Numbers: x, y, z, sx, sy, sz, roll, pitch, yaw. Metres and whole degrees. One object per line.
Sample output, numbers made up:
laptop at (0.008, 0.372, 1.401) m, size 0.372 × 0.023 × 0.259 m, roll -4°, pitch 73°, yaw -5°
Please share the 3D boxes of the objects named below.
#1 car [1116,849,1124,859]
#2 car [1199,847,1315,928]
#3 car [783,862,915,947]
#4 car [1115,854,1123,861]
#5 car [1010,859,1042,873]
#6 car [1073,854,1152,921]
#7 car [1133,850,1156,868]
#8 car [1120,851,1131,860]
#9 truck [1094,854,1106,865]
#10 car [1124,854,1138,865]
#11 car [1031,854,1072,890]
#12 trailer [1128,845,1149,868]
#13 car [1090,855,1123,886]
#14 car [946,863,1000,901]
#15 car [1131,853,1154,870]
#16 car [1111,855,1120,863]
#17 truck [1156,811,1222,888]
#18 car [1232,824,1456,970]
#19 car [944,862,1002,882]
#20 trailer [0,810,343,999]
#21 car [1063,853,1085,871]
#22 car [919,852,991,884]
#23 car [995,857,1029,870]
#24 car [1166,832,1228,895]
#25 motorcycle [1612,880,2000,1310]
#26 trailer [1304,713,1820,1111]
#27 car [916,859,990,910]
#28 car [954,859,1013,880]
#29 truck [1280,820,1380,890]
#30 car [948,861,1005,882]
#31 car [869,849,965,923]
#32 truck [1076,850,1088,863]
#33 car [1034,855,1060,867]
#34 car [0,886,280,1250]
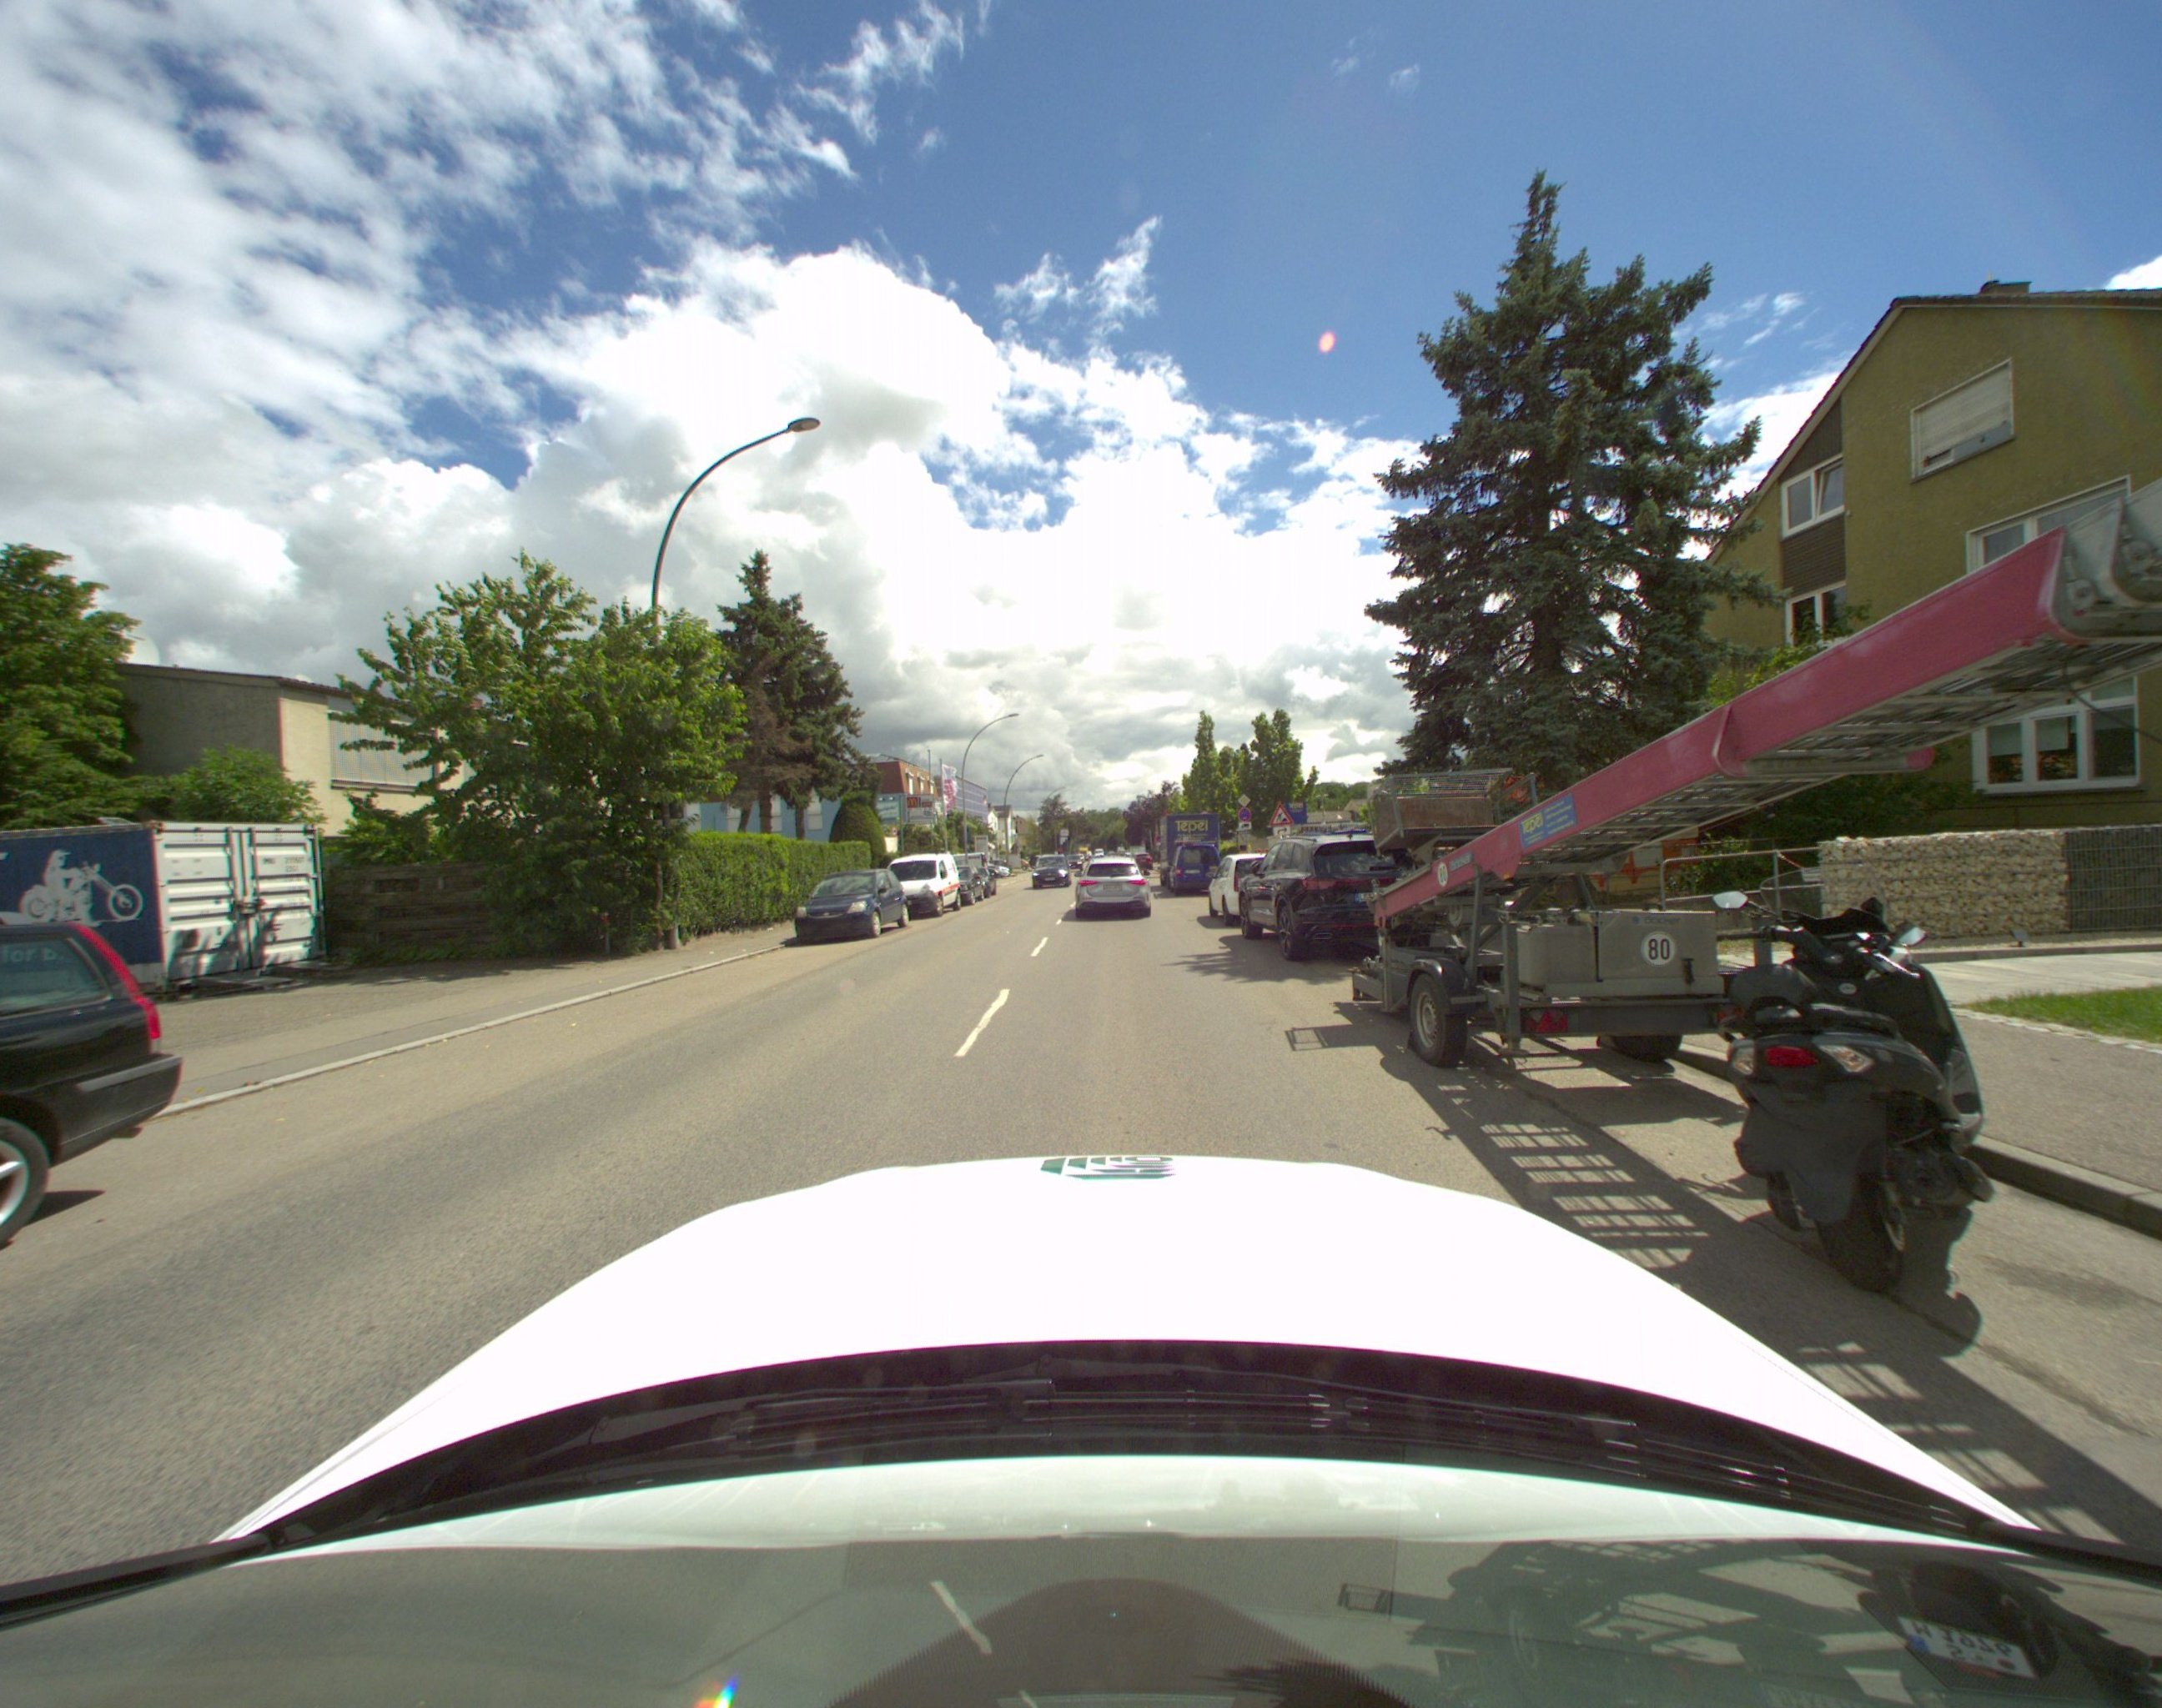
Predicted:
car at (10.542, -0.065, 219.831) m, size 1.778 × 2.518 × 4.316 m, roll -1°, pitch -1°, yaw 0°
car at (3.772, 0.648, 18.145) m, size 1.766 × 1.508 × 4.002 m, roll -3°, pitch 0°, yaw 2°
car at (-5.044, 1.035, 18.283) m, size 1.634 × 1.486 × 4.000 m, roll -6°, pitch 0°, yaw 1°
car at (9.671, 0.778, 207.462) m, size 1.778 × 1.715 × 4.316 m, roll -1°, pitch -1°, yaw 0°
car at (-8.367, 1.770, 124.469) m, size 4.614 × 1.632 × 2.196 m, roll -6°, pitch 0°, yaw -2°
car at (0.733, 0.769, 20.855) m, size 1.778 × 1.484 × 4.316 m, roll -1°, pitch 0°, yaw 0°
car at (5.927, 0.444, 76.221) m, size 1.933 × 1.571 × 4.451 m, roll -3°, pitch 0°, yaw 4°
car at (9.926, 0.310, 182.339) m, size 2.136 × 1.984 × 5.264 m, roll -3°, pitch 0°, yaw 2°
truck at (4.483, 1.251, 188.675) m, size 2.308 × 2.178 × 6.456 m, roll -3°, pitch 0°, yaw 4°
car at (7.563, 0.787, 123.543) m, size 1.786 × 1.450 × 4.362 m, roll -3°, pitch 0°, yaw 0°
car at (-1.444, 0.846, 41.086) m, size 1.737 × 1.627 × 4.357 m, roll -2°, pitch 0°, yaw 2°
trailer at (6.139, 0.232, 87.618) m, size 1.935 × 2.294 × 4.446 m, roll -3°, pitch 0°, yaw 1°
car at (1.414, 0.911, 46.133) m, size 1.749 × 1.558 × 4.001 m, roll -2°, pitch 0°, yaw 1°
car at (-4.493, 1.142, 34.494) m, size 1.625 × 1.303 × 4.116 m, roll -6°, pitch 0°, yaw 0°
car at (6.174, 0.747, 81.908) m, size 1.935 × 1.571 × 4.445 m, roll -3°, pitch 0°, yaw 0°
car at (7.220, 0.944, 169.441) m, size 1.749 × 1.558 × 4.001 m, roll -2°, pitch 0°, yaw 1°
truck at (4.629, -0.200, 35.951) m, size 2.311 × 3.097 × 6.046 m, roll -1°, pitch 0°, yaw 2°
car at (3.710, 0.523, 12.488) m, size 1.867 × 1.727 × 4.712 m, roll -3°, pitch 0°, yaw 0°
car at (-7.924, 1.303, 59.938) m, size 3.974 × 1.315 × 1.871 m, roll -3°, pitch -1°, yaw 0°
trailer at (-16.841, 0.905, 13.689) m, size 6.218 × 2.651 × 2.733 m, roll -5°, pitch 0°, yaw 2°
car at (-0.680, 0.769, 80.934) m, size 1.986 × 1.615 × 4.412 m, roll -4°, pitch 0°, yaw 1°
car at (-8.791, 0.973, 57.134) m, size 4.639 × 1.972 × 2.114 m, roll -3°, pitch 0°, yaw -2°
car at (-8.547, 1.184, 100.888) m, size 4.138 × 1.492 × 1.825 m, roll 0°, pitch 0°, yaw -2°
car at (4.258, 0.313, 30.440) m, size 1.866 × 2.169 × 4.467 m, roll -1°, pitch 0°, yaw 2°
motorcycle at (3.007, 0.770, 3.319) m, size 1.830 × 1.210 × 0.710 m, roll -3°, pitch 0°, yaw -34°
trailer at (3.249, 0.312, 6.610) m, size 1.766 × 2.144 × 4.115 m, roll -3°, pitch 0°, yaw 1°
car at (-4.519, 1.027, 29.434) m, size 1.737 × 1.472 × 4.644 m, roll -6°, pitch 0°, yaw 1°
car at (-7.748, 1.239, 64.752) m, size 4.358 × 1.478 × 1.872 m, roll -3°, pitch -1°, yaw 2°
truck at (8.619, -0.037, 28.755) m, size 1.823 × 2.081 × 5.387 m, roll -5°, pitch 1°, yaw 1°
car at (-7.922, 1.313, 62.062) m, size 3.969 × 1.355 × 1.874 m, roll -3°, pitch 0°, yaw 4°
car at (-4.698, 0.840, 23.982) m, size 1.737 × 1.838 × 4.356 m, roll -6°, pitch 0°, yaw 1°
truck at (0.323, 0.493, 180.680) m, size 2.066 × 2.814 × 7.084 m, roll -3°, pitch 0°, yaw 3°
car at (-5.862, 1.255, 141.901) m, size 4.265 × 1.836 × 1.991 m, roll -3°, pitch -3°, yaw 0°
car at (-5.500, 0.999, 2.282) m, size 1.714 × 1.493 × 4.735 m, roll -3°, pitch 0°, yaw 0°
